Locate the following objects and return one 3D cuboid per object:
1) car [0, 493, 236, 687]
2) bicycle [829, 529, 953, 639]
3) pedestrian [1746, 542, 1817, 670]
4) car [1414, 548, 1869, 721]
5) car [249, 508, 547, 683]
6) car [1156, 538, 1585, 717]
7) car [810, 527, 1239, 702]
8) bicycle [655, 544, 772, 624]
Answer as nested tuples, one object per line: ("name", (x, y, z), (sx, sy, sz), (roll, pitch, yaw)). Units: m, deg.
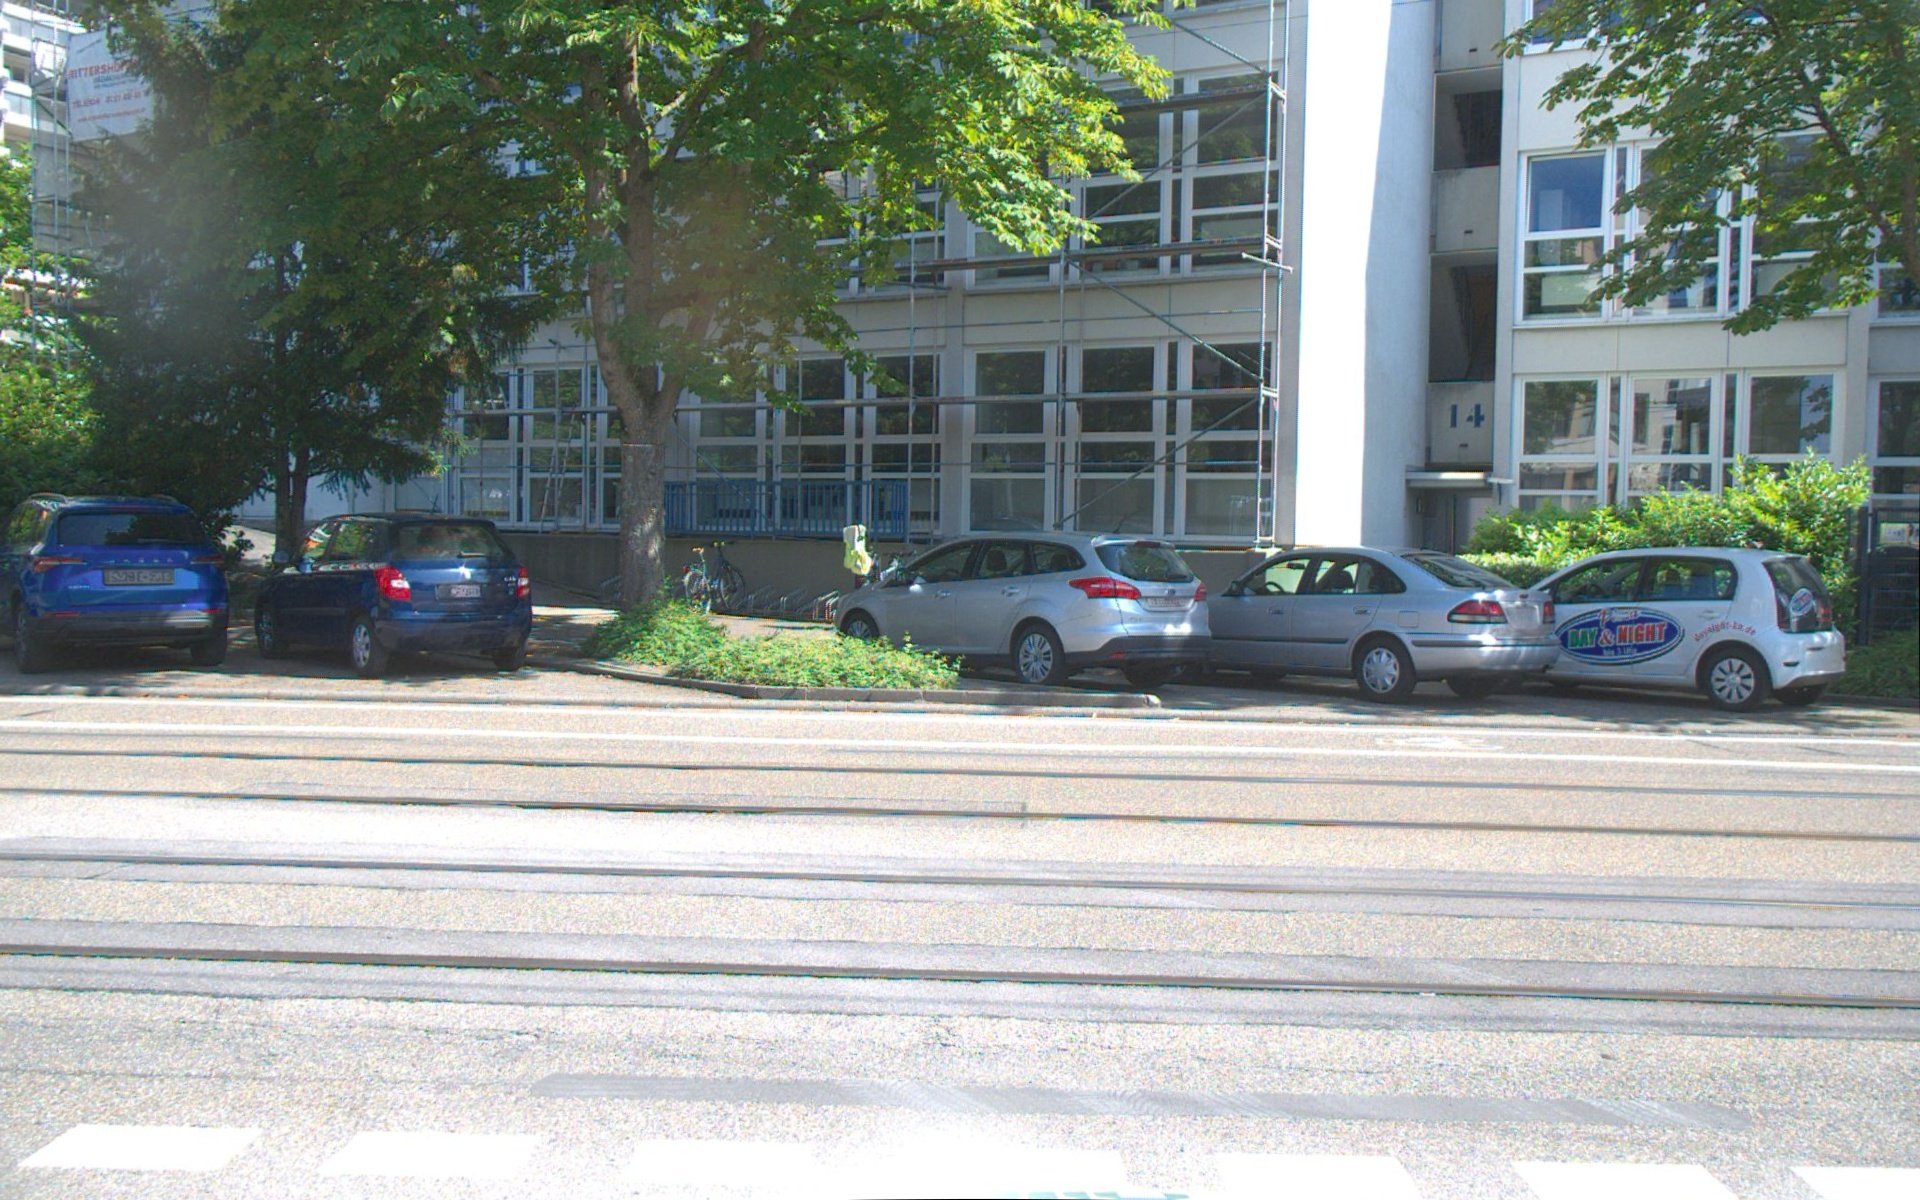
("car", (-8.686, -0.203, 16.515), (1.763, 1.650, 3.892), (-1, 4, -38))
("bicycle", (-0.950, -0.238, 23.273), (0.649, 1.478, 2.085), (2, 2, 33))
("pedestrian", (9.741, 0.062, 19.626), (0.607, 1.486, 0.424), (1, 2, 3))
("car", (6.643, 0.251, 16.426), (1.599, 1.512, 3.885), (-1, 2, -42))
("car", (-5.653, -0.111, 16.445), (1.564, 1.557, 3.404), (-1, 2, -43))
("car", (3.909, 0.178, 16.264), (1.599, 1.511, 3.887), (0, 2, -41))
("car", (0.524, 0.047, 16.723), (1.770, 1.511, 4.366), (-1, 2, -43))
("bicycle", (-3.586, -0.251, 24.289), (0.725, 1.104, 2.204), (2, 2, 20))
